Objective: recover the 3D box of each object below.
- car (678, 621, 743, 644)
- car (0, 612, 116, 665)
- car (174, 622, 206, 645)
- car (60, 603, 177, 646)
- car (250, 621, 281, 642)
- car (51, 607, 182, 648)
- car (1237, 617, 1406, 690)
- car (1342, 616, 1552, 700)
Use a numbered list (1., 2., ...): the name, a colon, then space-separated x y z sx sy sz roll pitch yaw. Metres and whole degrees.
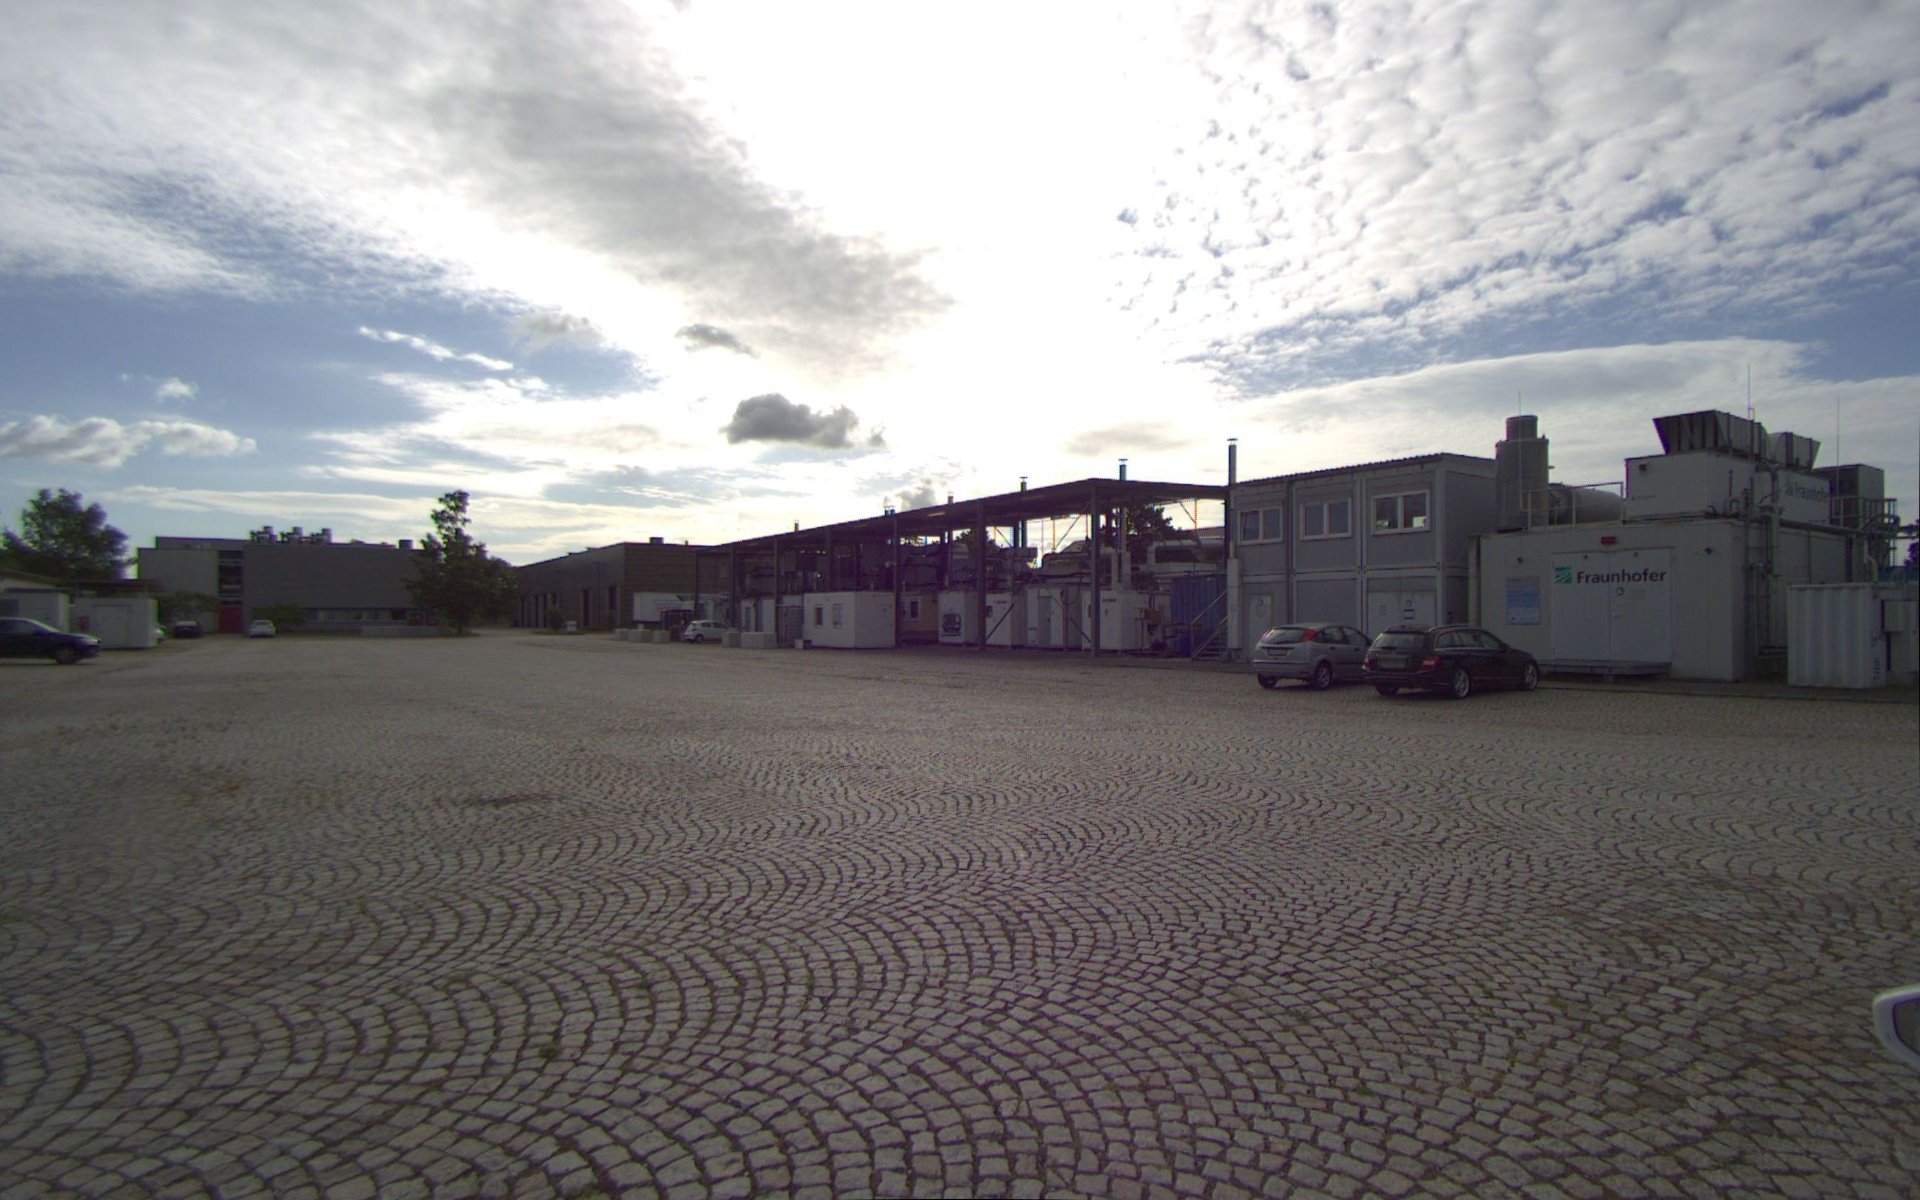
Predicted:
1. car: -17.122 2.195 69.015 3.961 1.512 1.980 1 -1 -36
2. car: -32.902 1.377 35.574 4.392 1.779 1.981 1 -4 -35
3. car: -65.073 2.811 84.928 1.980 1.834 3.961 1 -1 -35
4. car: -54.068 1.550 64.735 5.575 2.649 2.428 1 -1 -36
5. car: -61.047 2.749 88.321 2.132 1.834 3.961 1 -1 -35
6. car: -48.640 1.578 58.118 5.575 2.248 2.428 1 -1 -36
7. car: 8.637 1.203 23.903 4.008 1.495 1.893 -1 0 -37
8. car: 10.275 1.134 21.104 4.483 1.472 2.023 -1 0 -35
